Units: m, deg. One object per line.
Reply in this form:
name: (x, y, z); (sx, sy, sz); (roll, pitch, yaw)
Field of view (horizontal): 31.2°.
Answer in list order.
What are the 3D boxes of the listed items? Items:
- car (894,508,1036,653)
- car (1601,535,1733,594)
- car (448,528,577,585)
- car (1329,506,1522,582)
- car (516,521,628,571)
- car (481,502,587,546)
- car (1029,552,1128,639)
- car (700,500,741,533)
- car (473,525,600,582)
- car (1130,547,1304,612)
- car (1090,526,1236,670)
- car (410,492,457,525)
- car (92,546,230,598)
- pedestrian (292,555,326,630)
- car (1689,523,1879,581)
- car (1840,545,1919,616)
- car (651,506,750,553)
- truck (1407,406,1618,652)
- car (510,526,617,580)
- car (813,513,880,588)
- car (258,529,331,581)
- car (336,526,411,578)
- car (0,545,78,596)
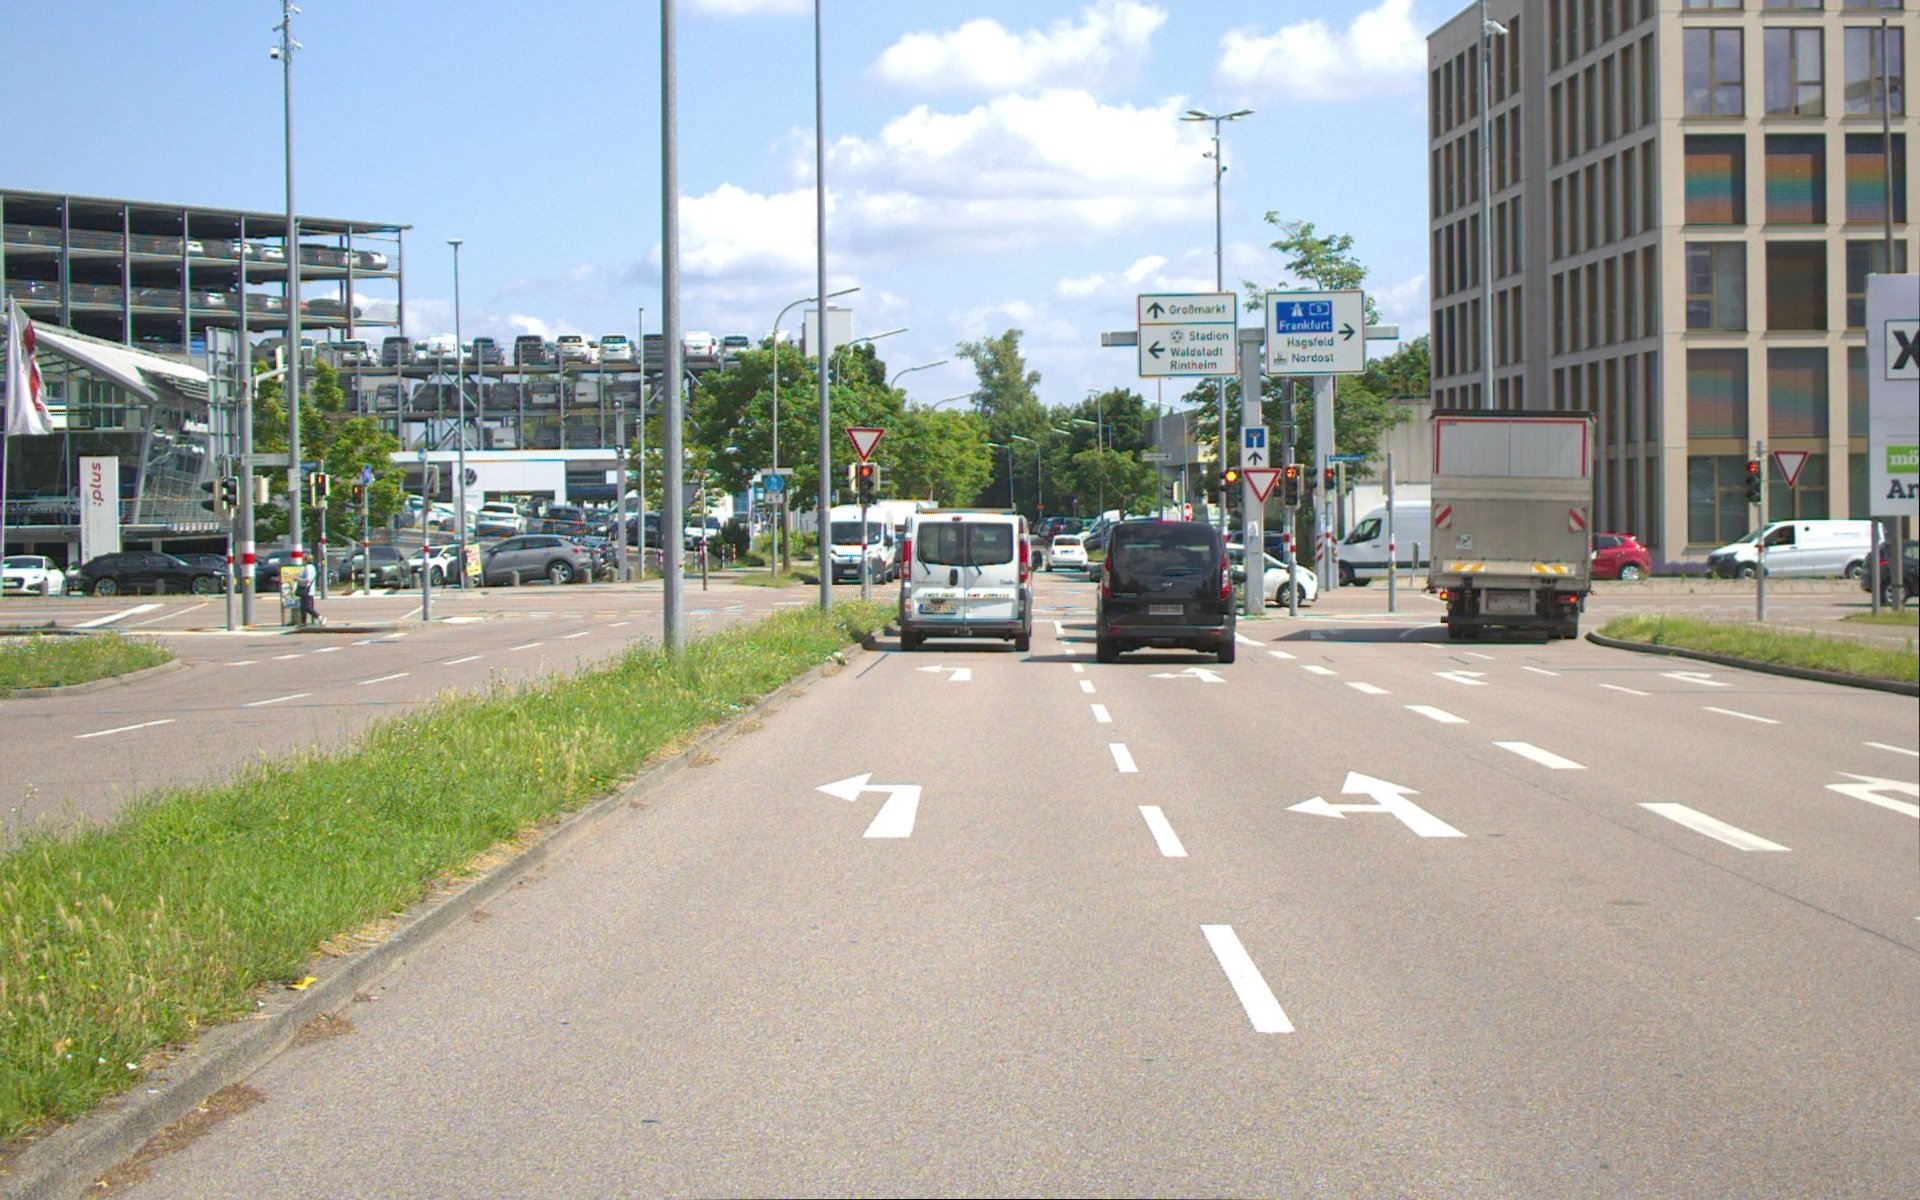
car: (0.109, -0.239, 50.037); (1.856, 2.011, 3.999); (0, -1, 3)
car: (19.218, -0.967, 93.519); (3.272, 1.400, 1.334); (0, 10, -1)
car: (-14.105, -1.378, 108.524); (3.861, 1.634, 1.858); (-2, 2, -2)
car: (14.201, -1.736, 104.867); (5.502, 2.247, 1.998); (1, 2, 22)
car: (-14.244, -1.990, 126.270); (3.912, 1.707, 1.689); (-2, 2, -2)
car: (-17.278, -3.098, 139.478); (4.164, 1.707, 1.689); (1, 2, -5)
car: (2.172, -0.107, 63.243); (1.740, 1.538, 4.000); (1, 1, 2)
car: (-11.198, -3.921, 161.053); (1.846, 1.524, 4.001); (0, 2, -3)
car: (-13.681, -1.513, 111.291); (3.912, 1.707, 1.689); (-2, 2, -2)
car: (5.901, -0.480, 79.206); (3.851, 1.461, 1.696); (0, 2, -1)
car: (2.703, -0.074, 45.511); (1.820, 1.802, 4.000); (1, 1, 4)
car: (-24.887, -4.318, 162.529); (1.846, 1.524, 4.001); (0, 2, -3)
car: (-23.909, -0.847, 102.990); (3.791, 1.508, 1.679); (0, 2, -4)
pedestrian: (-13.170, -0.150, 69.532); (0.470, 1.507, 0.511); (1, 1, 26)
car: (23.711, -1.390, 99.016); (4.982, 1.602, 2.000); (0, 2, -1)
car: (22.137, -0.478, 77.935); (4.146, 1.498, 1.626); (-1, 2, 12)
car: (-10.605, -2.873, 140.297); (3.986, 1.919, 1.827); (0, 1, -5)
truck: (9.671, -1.283, 59.430); (3.131, 3.927, 8.854); (0, 2, 12)
car: (-13.702, -1.627, 119.027); (3.507, 1.707, 1.604); (-2, 2, -2)
car: (-3.647, -1.630, 111.152); (1.971, 2.248, 4.981); (-2, 2, 0)
car: (-19.983, -1.364, 103.211); (1.816, 1.546, 4.001); (0, 1, -16)
car: (-17.713, -1.459, 103.780); (1.816, 1.546, 4.001); (0, 1, -16)
car: (-27.789, -0.907, 103.186); (1.776, 1.445, 4.030); (0, 2, -3)
